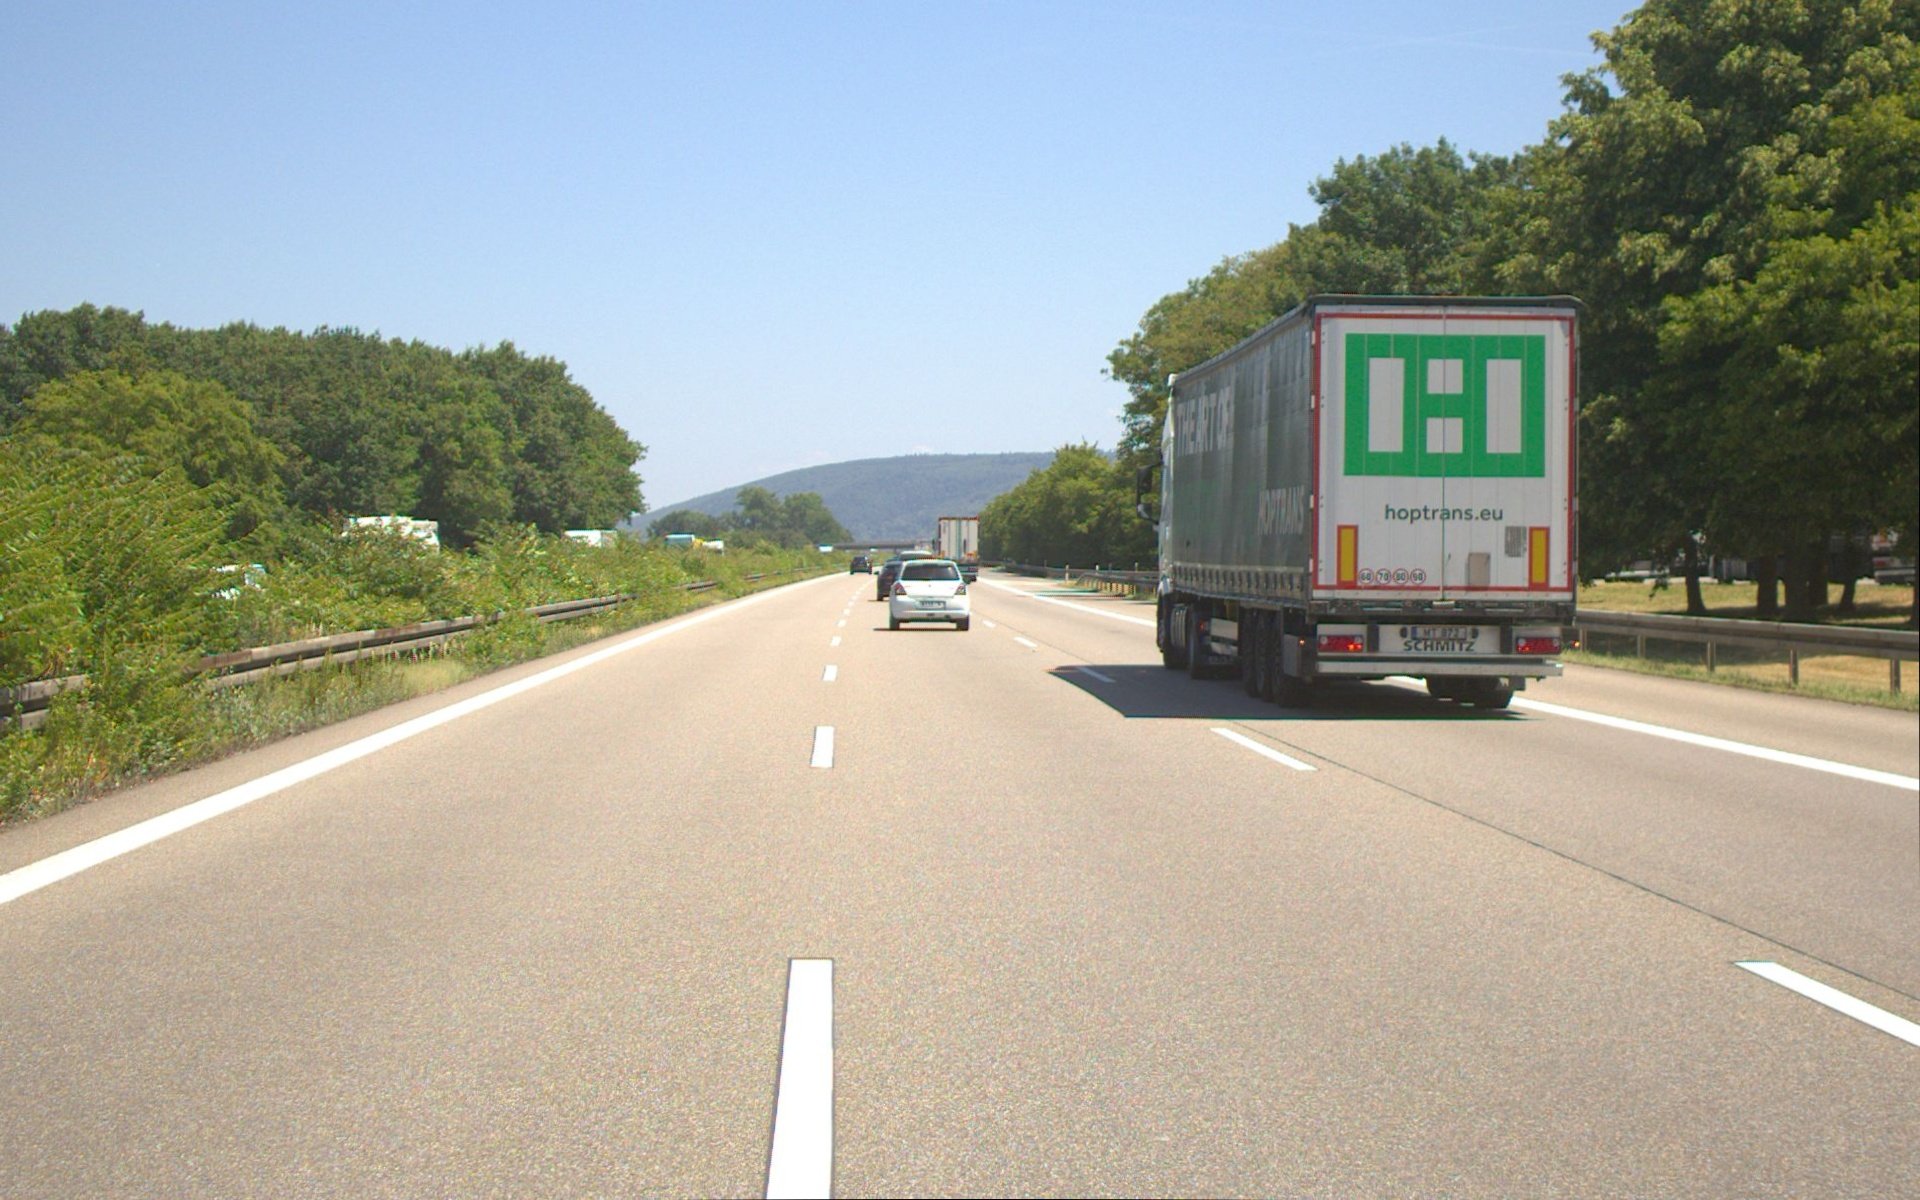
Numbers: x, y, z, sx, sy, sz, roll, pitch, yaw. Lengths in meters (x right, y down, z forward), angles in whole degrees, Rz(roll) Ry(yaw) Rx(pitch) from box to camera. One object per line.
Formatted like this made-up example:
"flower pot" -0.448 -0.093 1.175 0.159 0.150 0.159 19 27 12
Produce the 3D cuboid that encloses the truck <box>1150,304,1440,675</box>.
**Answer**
"truck" 4.313 -1.408 45.494 3.182 4.591 5.948 0 1 -1

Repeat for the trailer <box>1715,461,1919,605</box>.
"trailer" 25.986 -1.954 101.805 3.135 3.939 14.199 -1 1 -4

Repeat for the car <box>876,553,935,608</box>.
"car" -1.915 -0.725 122.505 1.897 1.886 4.000 -1 1 1

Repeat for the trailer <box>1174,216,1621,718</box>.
"trailer" 4.425 -1.324 37.857 3.181 4.611 12.051 -1 1 -1

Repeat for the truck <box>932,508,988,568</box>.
"truck" -0.054 -3.983 222.890 3.325 3.744 12.796 1 1 -1

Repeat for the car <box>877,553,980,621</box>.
"car" -0.703 -0.290 74.254 1.811 1.400 3.318 -1 1 -8
